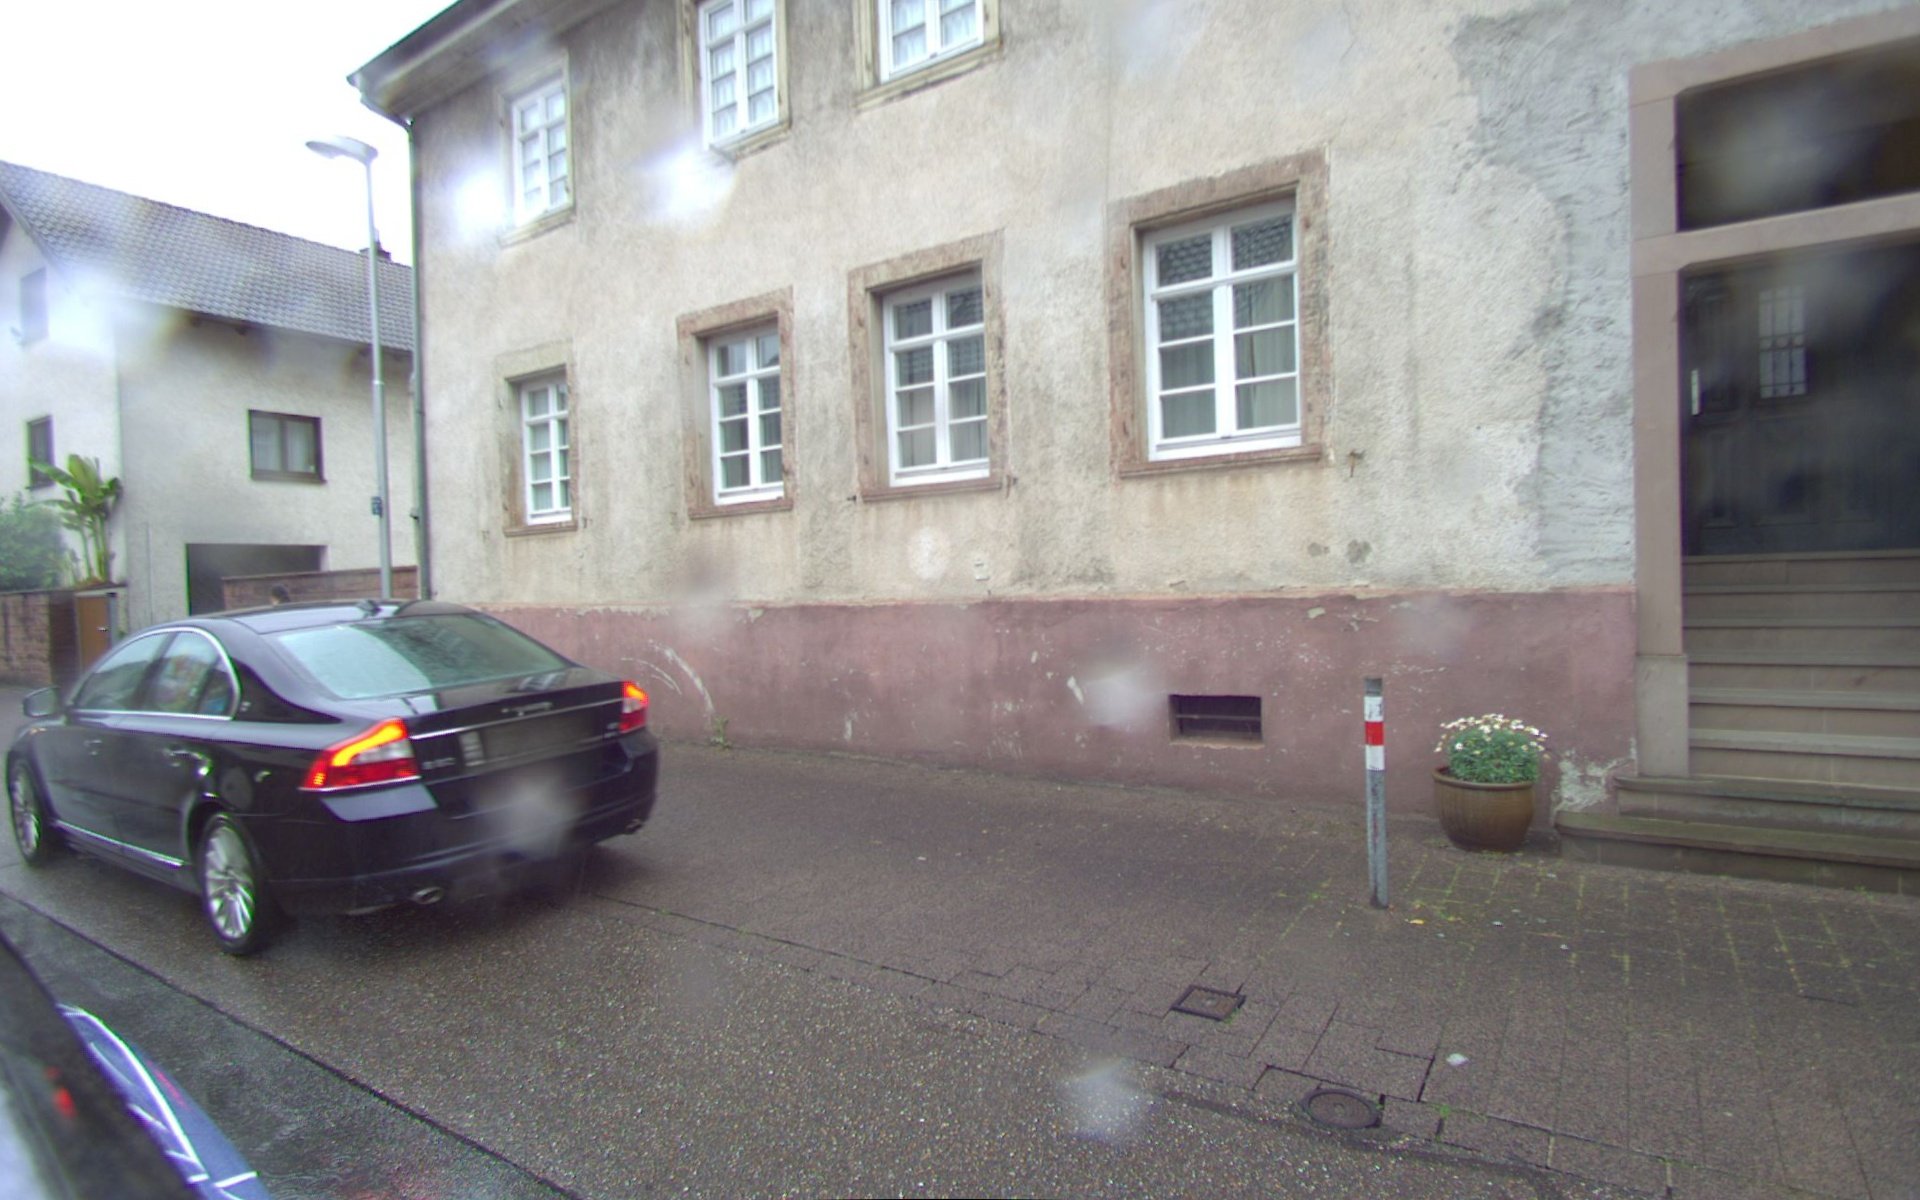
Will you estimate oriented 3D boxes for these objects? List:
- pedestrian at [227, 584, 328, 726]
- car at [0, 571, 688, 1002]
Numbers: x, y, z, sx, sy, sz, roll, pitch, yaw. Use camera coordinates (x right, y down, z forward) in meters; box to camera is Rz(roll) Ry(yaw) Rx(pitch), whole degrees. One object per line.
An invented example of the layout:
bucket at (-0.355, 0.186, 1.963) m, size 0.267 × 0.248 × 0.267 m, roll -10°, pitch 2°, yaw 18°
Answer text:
pedestrian at (-7.837, 0.618, 11.626) m, size 0.829 × 1.549 × 0.568 m, roll -1°, pitch 2°, yaw 29°
car at (-3.626, 0.659, 5.448) m, size 4.327 × 1.520 × 1.683 m, roll -1°, pitch 1°, yaw 32°
